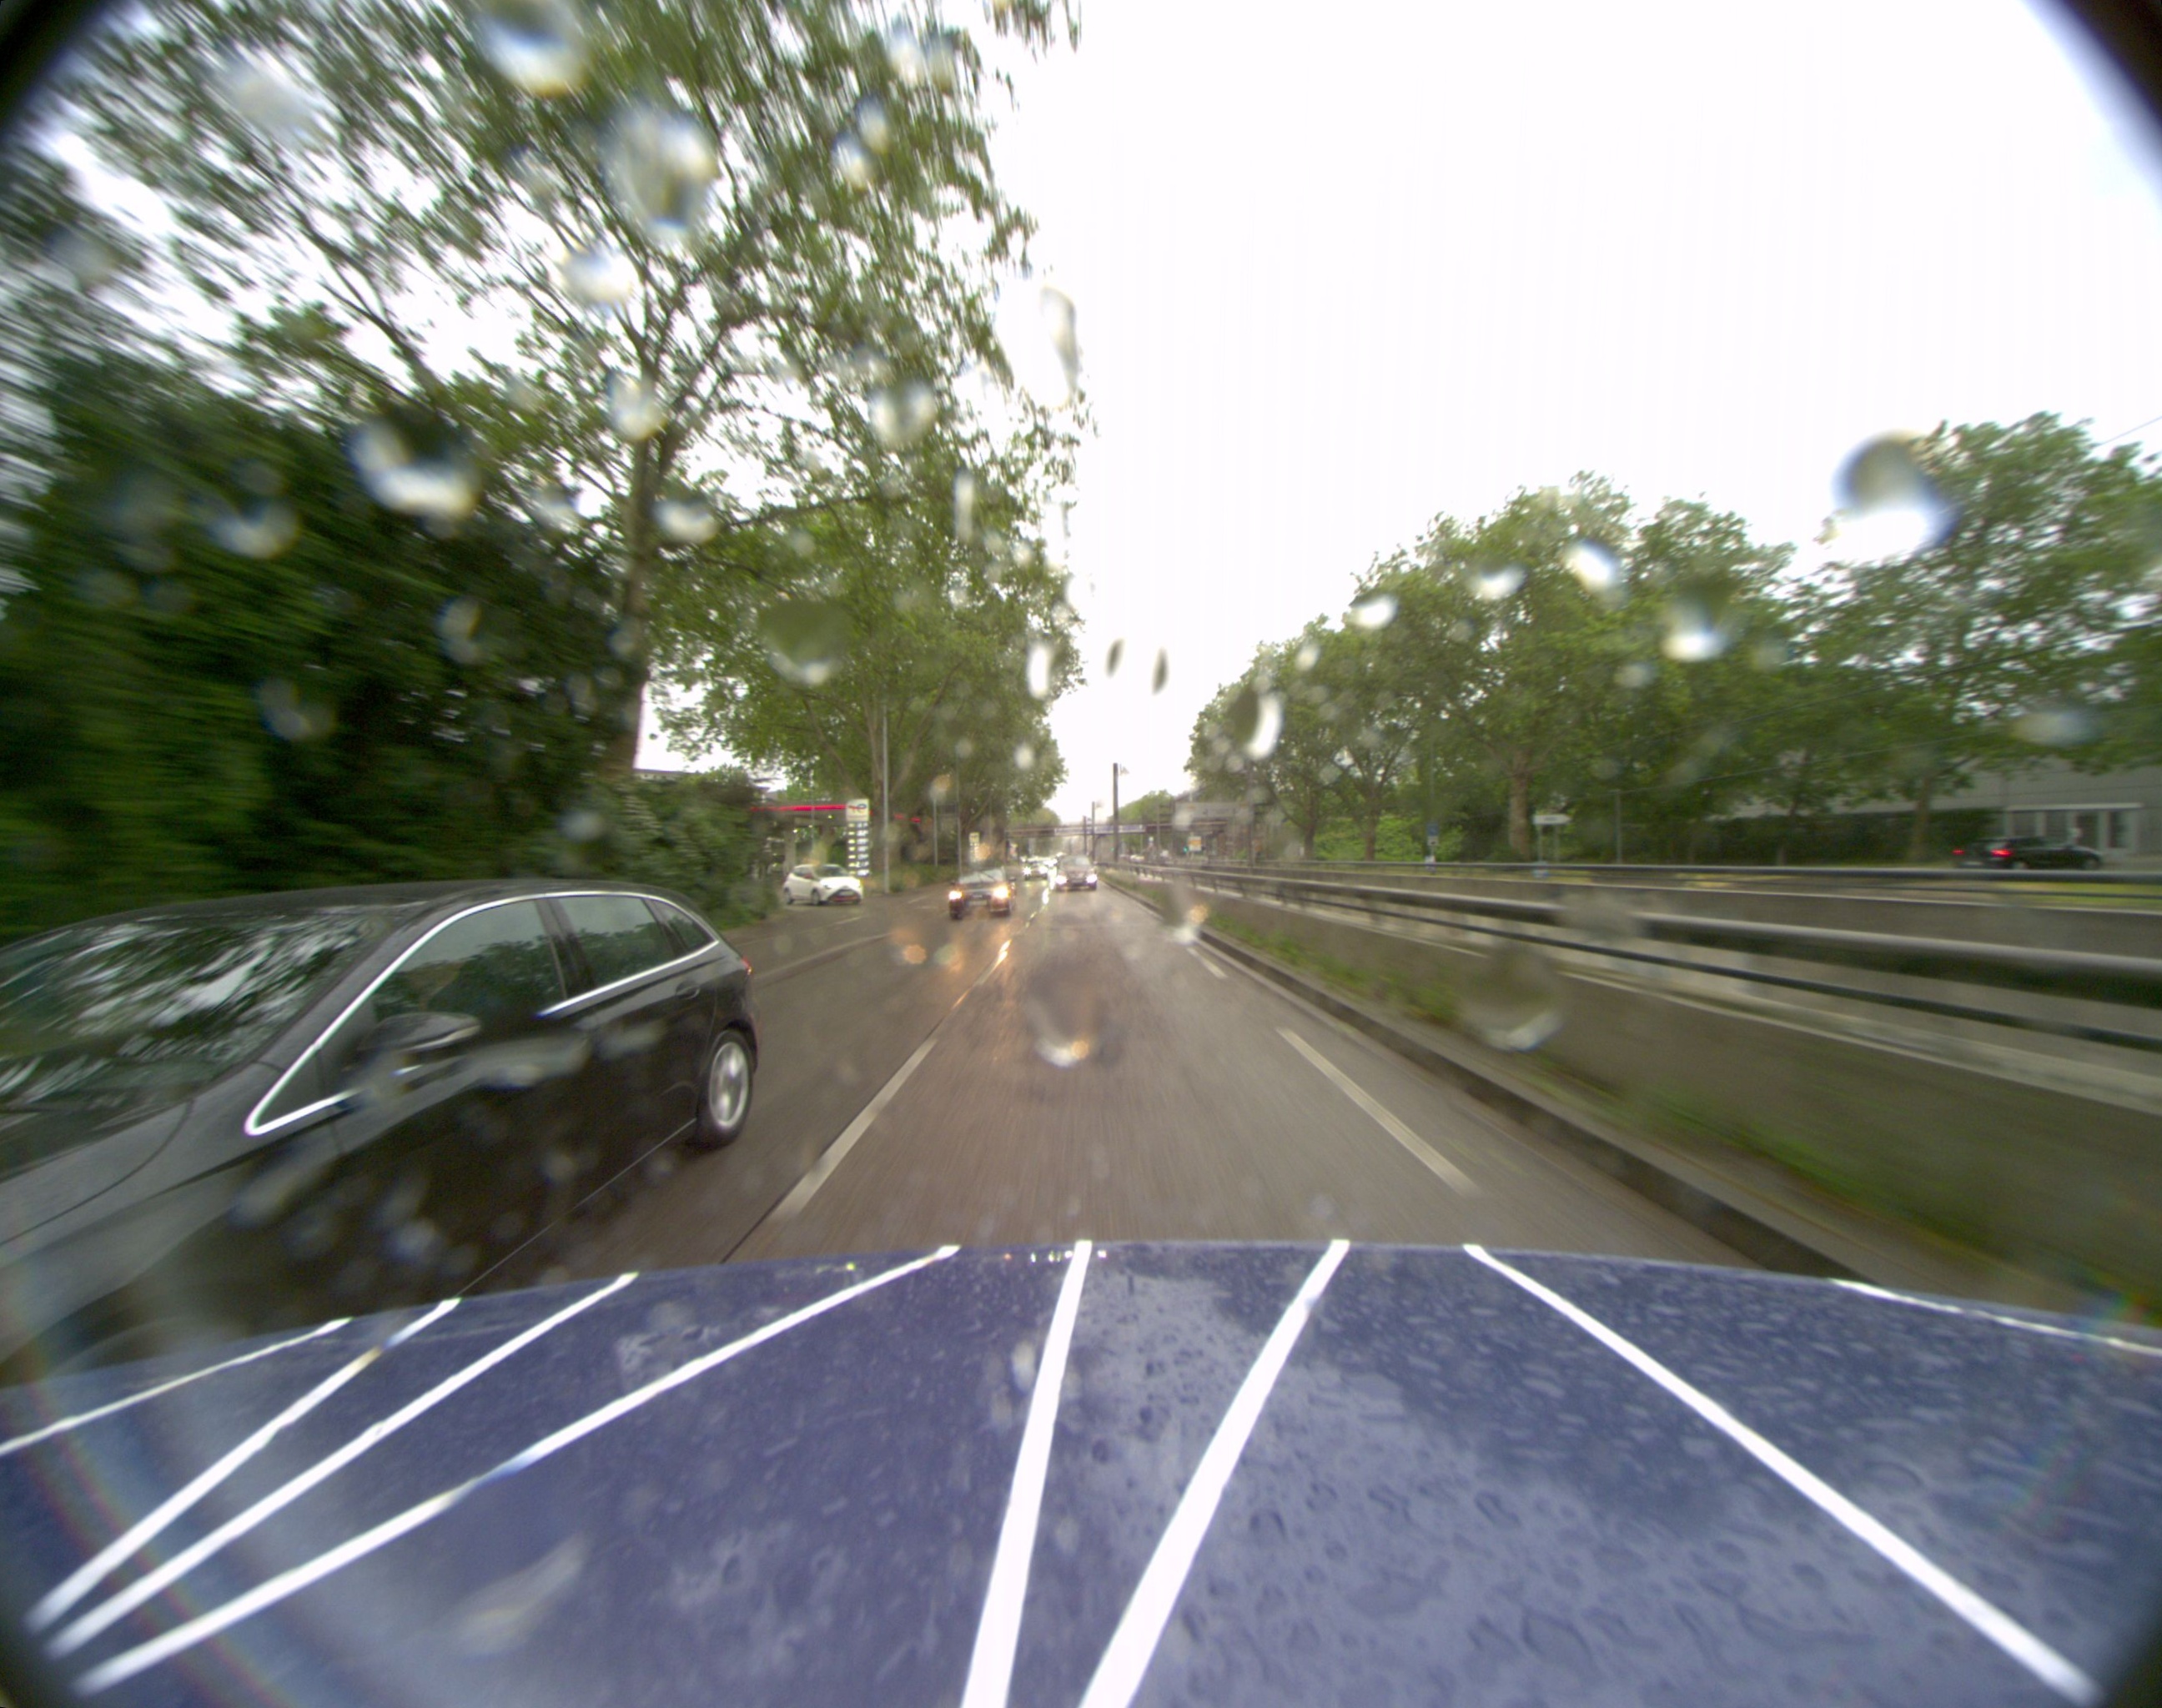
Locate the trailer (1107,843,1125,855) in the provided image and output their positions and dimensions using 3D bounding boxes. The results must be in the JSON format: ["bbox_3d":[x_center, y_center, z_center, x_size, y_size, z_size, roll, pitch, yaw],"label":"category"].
[{"bbox_3d":[10.131,-1.395,221.106,3.332,3.241,11.116,-3,0,-6],"label":"trailer"}]

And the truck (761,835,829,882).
[{"bbox_3d":[-22.673,0.343,60.709,2.701,3.332,7.767,-3,0,-3],"label":"truck"}]

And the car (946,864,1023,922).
[{"bbox_3d":[-2.707,1.066,22.132,1.641,1.377,3.781,-3,1,1],"label":"car"}]

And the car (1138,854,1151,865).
[{"bbox_3d":[12.583,1.009,151.513,1.999,2.002,3.999,-3,0,-2],"label":"car"}]

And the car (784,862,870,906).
[{"bbox_3d":[-9.244,1.075,27.506,1.611,1.423,3.547,-4,1,-42],"label":"car"}]

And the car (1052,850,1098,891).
[{"bbox_3d":[-0.226,0.778,36.537,1.975,1.794,4.159,-2,0,1],"label":"car"}]

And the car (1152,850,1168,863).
[{"bbox_3d":[13.184,0.371,127.758,1.999,2.002,4.509,-3,0,-1],"label":"car"}]

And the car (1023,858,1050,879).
[{"bbox_3d":[-3.428,1.136,59.018,1.821,1.520,4.158,-2,0,-1],"label":"car"}]

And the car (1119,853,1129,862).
[{"bbox_3d":[10.348,0.784,182.343,1.999,2.002,4.509,-3,0,-1],"label":"car"}]

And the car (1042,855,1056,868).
[{"bbox_3d":[-4.420,1.000,105.950,1.869,1.688,4.425,-2,0,-2],"label":"car"}]

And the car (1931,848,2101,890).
[{"bbox_3d":[34.715,0.531,28.302,3.790,1.395,2.000,-2,0,2],"label":"car"}]

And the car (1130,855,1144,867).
[{"bbox_3d":[10.229,1.320,138.490,1.999,2.002,4.615,-3,0,-1],"label":"car"}]

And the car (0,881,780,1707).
[{"bbox_3d":[-2.809,0.992,2.594,1.821,1.521,4.420,-3,0,-2],"label":"car"}]
